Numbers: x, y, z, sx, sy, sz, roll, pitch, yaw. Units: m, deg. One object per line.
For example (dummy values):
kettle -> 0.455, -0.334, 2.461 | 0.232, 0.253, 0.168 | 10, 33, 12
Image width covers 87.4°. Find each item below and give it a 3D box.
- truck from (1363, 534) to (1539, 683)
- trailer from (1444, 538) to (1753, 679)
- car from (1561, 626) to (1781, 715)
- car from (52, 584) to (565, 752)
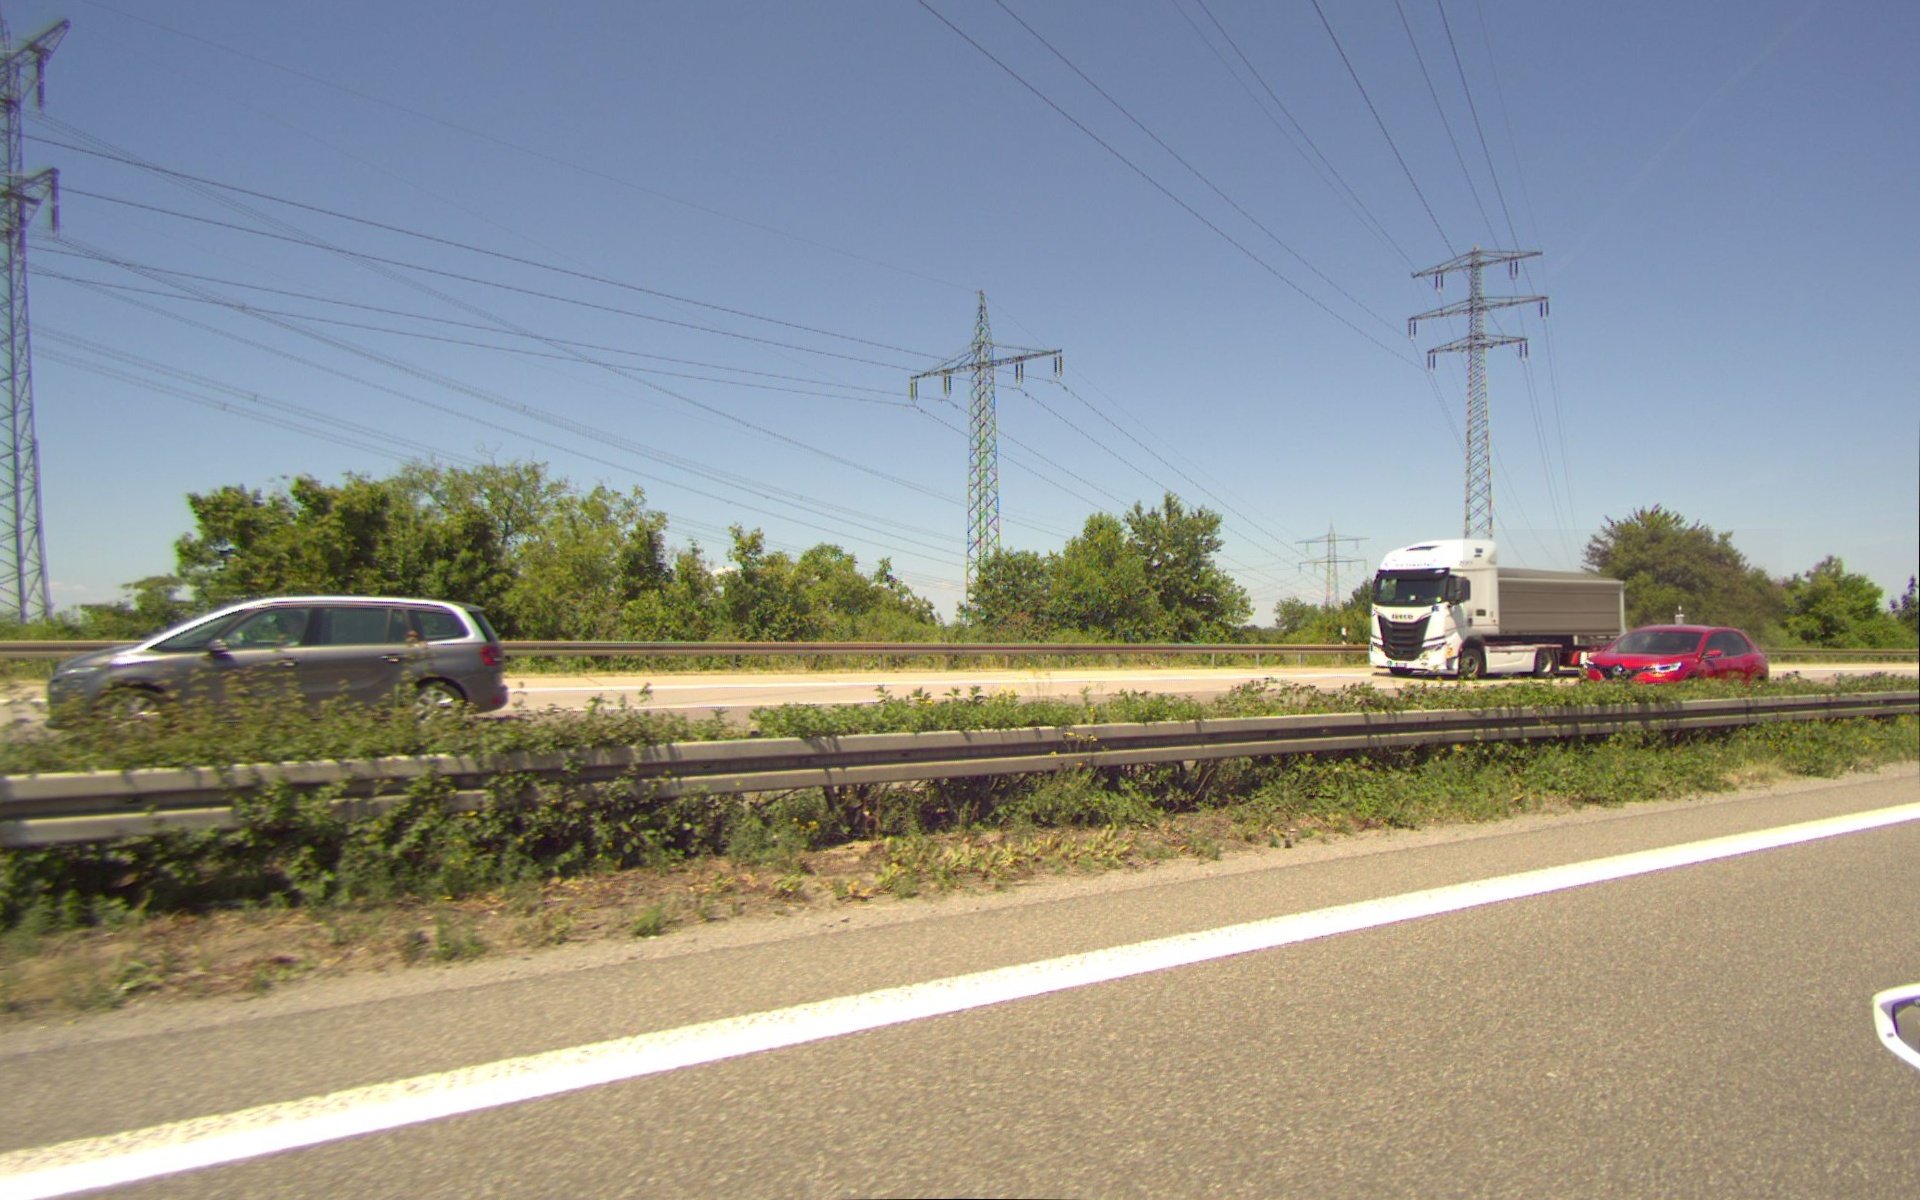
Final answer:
truck -> 14.516, 0.244, 29.700 | 4.544, 4.073, 2.472 | 0, 0, -28
trailer -> 21.650, 0.292, 33.562 | 13.415, 4.097, 2.496 | 0, 0, -28
car -> 14.241, 1.342, 20.067 | 4.396, 1.569, 1.984 | 1, -1, -31
car -> -7.582, 0.749, 12.289 | 4.872, 1.695, 1.984 | 1, -1, -31
